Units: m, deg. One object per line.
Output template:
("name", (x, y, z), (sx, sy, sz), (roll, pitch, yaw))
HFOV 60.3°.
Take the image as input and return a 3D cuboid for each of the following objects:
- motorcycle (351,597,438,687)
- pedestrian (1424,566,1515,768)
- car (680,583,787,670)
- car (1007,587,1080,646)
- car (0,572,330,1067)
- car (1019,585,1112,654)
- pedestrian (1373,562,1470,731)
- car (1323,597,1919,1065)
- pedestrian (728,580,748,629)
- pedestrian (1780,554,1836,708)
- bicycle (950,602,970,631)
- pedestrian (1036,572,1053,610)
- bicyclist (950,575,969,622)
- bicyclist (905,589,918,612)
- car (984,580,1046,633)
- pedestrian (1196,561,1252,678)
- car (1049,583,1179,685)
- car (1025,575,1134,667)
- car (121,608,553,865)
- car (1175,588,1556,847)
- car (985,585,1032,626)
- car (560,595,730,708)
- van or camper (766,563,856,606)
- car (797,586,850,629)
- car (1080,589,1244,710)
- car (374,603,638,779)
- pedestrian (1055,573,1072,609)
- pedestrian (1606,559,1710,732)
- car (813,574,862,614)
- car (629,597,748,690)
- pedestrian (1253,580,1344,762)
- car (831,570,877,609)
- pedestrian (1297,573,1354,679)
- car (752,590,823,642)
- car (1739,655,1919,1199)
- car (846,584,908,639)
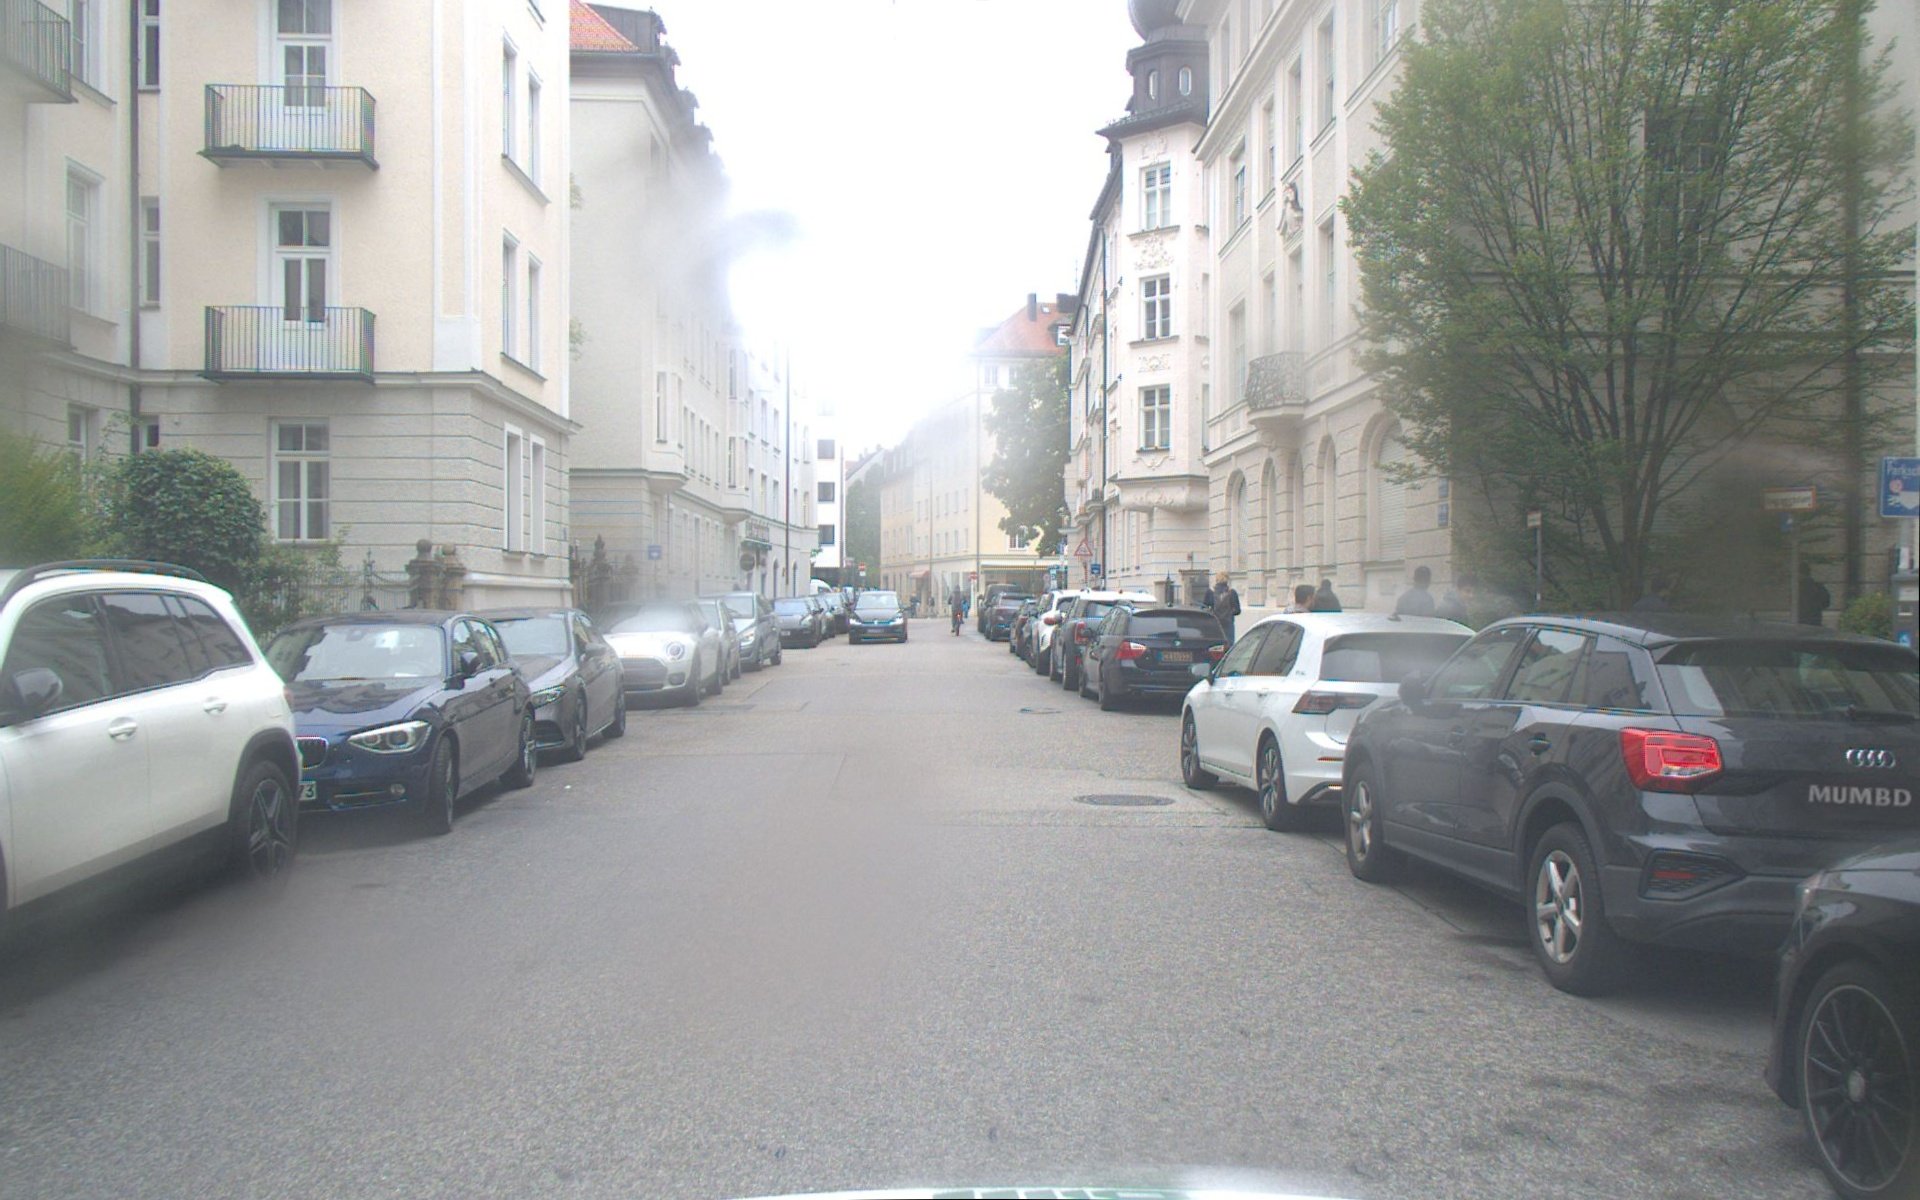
("motorcycle", (-8.284, 0.594, 24.309), (0.690, 1.271, 1.820), (1, 0, -2))
("pedestrian", (4.660, 0.592, 15.148), (0.615, 1.800, 0.672), (0, 1, -2))
("car", (-4.693, 0.504, 34.729), (1.662, 1.608, 4.061), (-3, 1, -1))
("car", (2.135, 0.394, 43.197), (1.580, 1.419, 3.999), (1, 1, -2))
("car", (-4.195, 0.760, 6.540), (1.770, 1.677, 4.484), (-2, 1, -2))
("car", (2.412, 0.420, 38.722), (1.674, 1.527, 3.997), (0, 0, -4))
("pedestrian", (5.024, 0.490, 18.036), (0.864, 1.800, 0.672), (0, 1, -2))
("car", (3.210, 0.825, 7.843), (1.756, 1.524, 4.079), (2, 1, -5))
("pedestrian", (-8.035, 0.153, 59.866), (0.684, 1.736, 0.665), (0, 0, -4))
("pedestrian", (10.252, 0.361, 19.991), (0.543, 1.825, 0.572), (0, 1, 32))
("bicycle", (-0.005, 0.584, 59.297), (0.626, 1.022, 1.575), (-1, 0, 3))
("pedestrian", (4.009, -0.431, 78.672), (0.689, 1.758, 0.703), (-2, 1, -4))
("bicyclist", (-0.013, -0.057, 59.315), (0.593, 1.634, 0.758), (-1, 1, 3))
("bicyclist", (-3.569, 0.021, 120.909), (0.768, 1.666, 0.972), (0, 1, -15))
("car", (1.771, 0.189, 54.365), (1.673, 1.615, 3.998), (1, 1, -3))
("pedestrian", (4.224, 0.294, 26.499), (0.668, 1.806, 0.855), (-3, 1, 0))
("car", (2.479, 0.497, 27.478), (1.713, 1.551, 4.169), (0, 1, -1))
("car", (2.333, 0.366, 33.290), (1.857, 1.664, 4.391), (-1, 2, 0))
("car", (-4.097, 0.799, 11.594), (1.733, 1.445, 3.997), (0, 0, -4))
("car", (2.802, 0.715, 12.349), (1.630, 1.534, 4.062), (0, 1, -4))
("car", (1.725, 0.181, 60.003), (1.629, 1.420, 3.582), (1, 0, 1))
("car", (-4.430, 0.668, 23.840), (1.761, 1.460, 4.078), (0, 0, -2))
("van or camper", (-9.817, -1.001, 109.105), (5.796, 2.724, 1.869), (-1, -1, -9))
("car", (-4.906, 0.240, 59.493), (1.775, 1.409, 4.439), (-2, 1, -5))
("car", (2.716, 0.614, 23.102), (1.676, 1.477, 4.224), (0, 1, -2))
("car", (-4.371, 0.798, 16.566), (1.701, 1.388, 4.190), (-2, 1, -4))
("pedestrian", (4.968, -0.430, 79.111), (0.666, 1.703, 0.654), (-3, 1, -4))
("pedestrian", (7.616, 0.477, 18.066), (0.842, 1.849, 0.678), (0, 1, -2))
("car", (-4.768, -0.262, 64.825), (1.706, 1.512, 4.180), (-1, 1, -2))
("car", (-4.721, 0.709, 29.217), (1.612, 1.427, 3.997), (-3, 1, -4))
("pedestrian", (3.227, 0.653, 15.793), (0.832, 1.686, 0.867), (0, 0, 11))
("car", (-5.080, -0.523, 79.756), (1.805, 1.788, 4.001), (-1, 1, 2))
("pedestrian", (6.089, 0.418, 27.580), (0.668, 1.708, 0.812), (-3, 1, -2))
("car", (-4.980, 0.419, 48.243), (1.813, 1.390, 4.699), (0, 1, -3))
("car", (3.161, 0.891, 2.830), (1.706, 1.422, 4.021), (2, 0, -1))
("car", (-2.546, 0.318, 51.444), (1.689, 1.560, 4.085), (-3, 0, -1))
